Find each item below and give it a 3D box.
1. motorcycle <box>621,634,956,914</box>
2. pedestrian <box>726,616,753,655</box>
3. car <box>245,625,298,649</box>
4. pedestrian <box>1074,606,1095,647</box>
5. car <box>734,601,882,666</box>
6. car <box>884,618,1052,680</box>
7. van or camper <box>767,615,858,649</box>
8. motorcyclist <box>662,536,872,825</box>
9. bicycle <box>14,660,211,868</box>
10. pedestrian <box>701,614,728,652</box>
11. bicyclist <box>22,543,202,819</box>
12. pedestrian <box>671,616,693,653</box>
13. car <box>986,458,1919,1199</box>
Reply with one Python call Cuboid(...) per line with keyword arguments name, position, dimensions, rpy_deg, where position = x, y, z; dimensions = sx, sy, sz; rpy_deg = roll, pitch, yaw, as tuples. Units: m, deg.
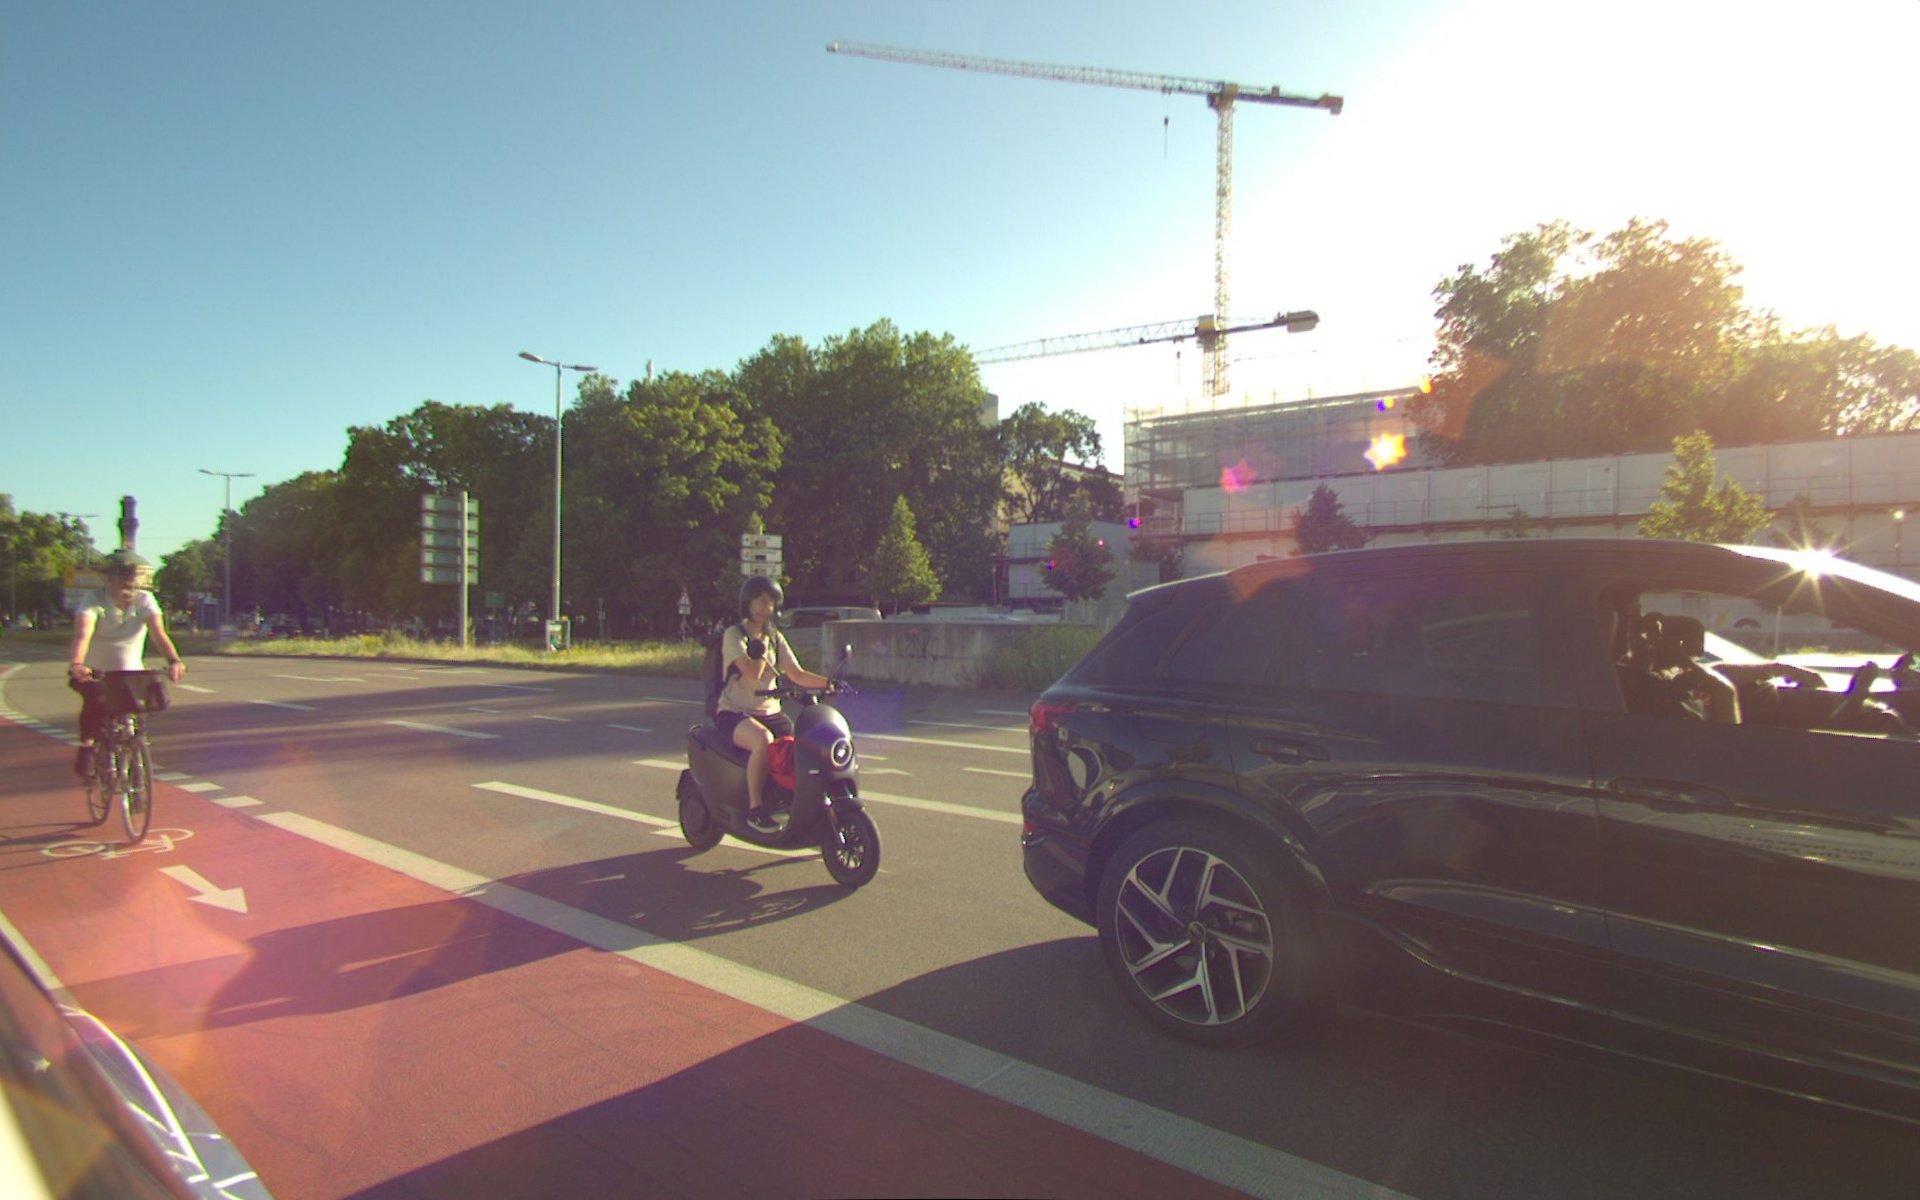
Cuboid(name="motorcycle", position=(-1.017, 0.842, 5.694), dimensions=(1.943, 1.290, 0.817), rpy_deg=(-1, -2, 41))
Cuboid(name="pedestrian", position=(-11.410, 1.802, 52.327), dimensions=(0.815, 1.978, 1.111), rpy_deg=(-1, 0, 41))
Cuboid(name="car", position=(-44.108, 2.349, 64.832), dimensions=(3.979, 1.492, 1.857), rpy_deg=(-1, -2, 41))
Cuboid(name="pedestrian", position=(4.989, 1.046, 40.560), dimensions=(0.597, 1.614, 0.580), rpy_deg=(-1, 0, 38))
Cuboid(name="car", position=(-4.913, 1.061, 32.299), dimensions=(4.925, 1.937, 1.863), rpy_deg=(-1, -2, 39))
Cuboid(name="car", position=(0.148, 1.137, 24.549), dimensions=(3.941, 1.387, 1.705), rpy_deg=(-1, -2, 41))
Cuboid(name="van or camper", position=(-8.964, 1.931, 61.886), dimensions=(1.951, 1.960, 5.425), rpy_deg=(-2, -2, 44))
Cuboid(name="motorcyclist", position=(-1.097, 0.421, 5.775), dimensions=(0.877, 1.475, 0.813), rpy_deg=(-1, -2, 41))
Cuboid(name="bicycle", position=(-5.764, 1.014, 6.845), dimensions=(1.890, 1.156, 0.731), rpy_deg=(-1, -2, 41))
Cuboid(name="pedestrian", position=(-13.077, 1.737, 53.951), dimensions=(1.054, 1.978, 0.942), rpy_deg=(-1, 0, 26))
Cuboid(name="bicyclist", position=(-5.767, 0.516, 6.888), dimensions=(0.851, 1.713, 0.797), rpy_deg=(-1, -2, 41))
Cuboid(name="pedestrian", position=(-15.270, 1.882, 55.654), dimensions=(0.832, 2.029, 0.953), rpy_deg=(-1, 0, 12))
Cuboid(name="car", position=(2.577, 0.553, 3.183), dimensions=(4.660, 1.720, 2.144), rpy_deg=(-1, -1, 39))
